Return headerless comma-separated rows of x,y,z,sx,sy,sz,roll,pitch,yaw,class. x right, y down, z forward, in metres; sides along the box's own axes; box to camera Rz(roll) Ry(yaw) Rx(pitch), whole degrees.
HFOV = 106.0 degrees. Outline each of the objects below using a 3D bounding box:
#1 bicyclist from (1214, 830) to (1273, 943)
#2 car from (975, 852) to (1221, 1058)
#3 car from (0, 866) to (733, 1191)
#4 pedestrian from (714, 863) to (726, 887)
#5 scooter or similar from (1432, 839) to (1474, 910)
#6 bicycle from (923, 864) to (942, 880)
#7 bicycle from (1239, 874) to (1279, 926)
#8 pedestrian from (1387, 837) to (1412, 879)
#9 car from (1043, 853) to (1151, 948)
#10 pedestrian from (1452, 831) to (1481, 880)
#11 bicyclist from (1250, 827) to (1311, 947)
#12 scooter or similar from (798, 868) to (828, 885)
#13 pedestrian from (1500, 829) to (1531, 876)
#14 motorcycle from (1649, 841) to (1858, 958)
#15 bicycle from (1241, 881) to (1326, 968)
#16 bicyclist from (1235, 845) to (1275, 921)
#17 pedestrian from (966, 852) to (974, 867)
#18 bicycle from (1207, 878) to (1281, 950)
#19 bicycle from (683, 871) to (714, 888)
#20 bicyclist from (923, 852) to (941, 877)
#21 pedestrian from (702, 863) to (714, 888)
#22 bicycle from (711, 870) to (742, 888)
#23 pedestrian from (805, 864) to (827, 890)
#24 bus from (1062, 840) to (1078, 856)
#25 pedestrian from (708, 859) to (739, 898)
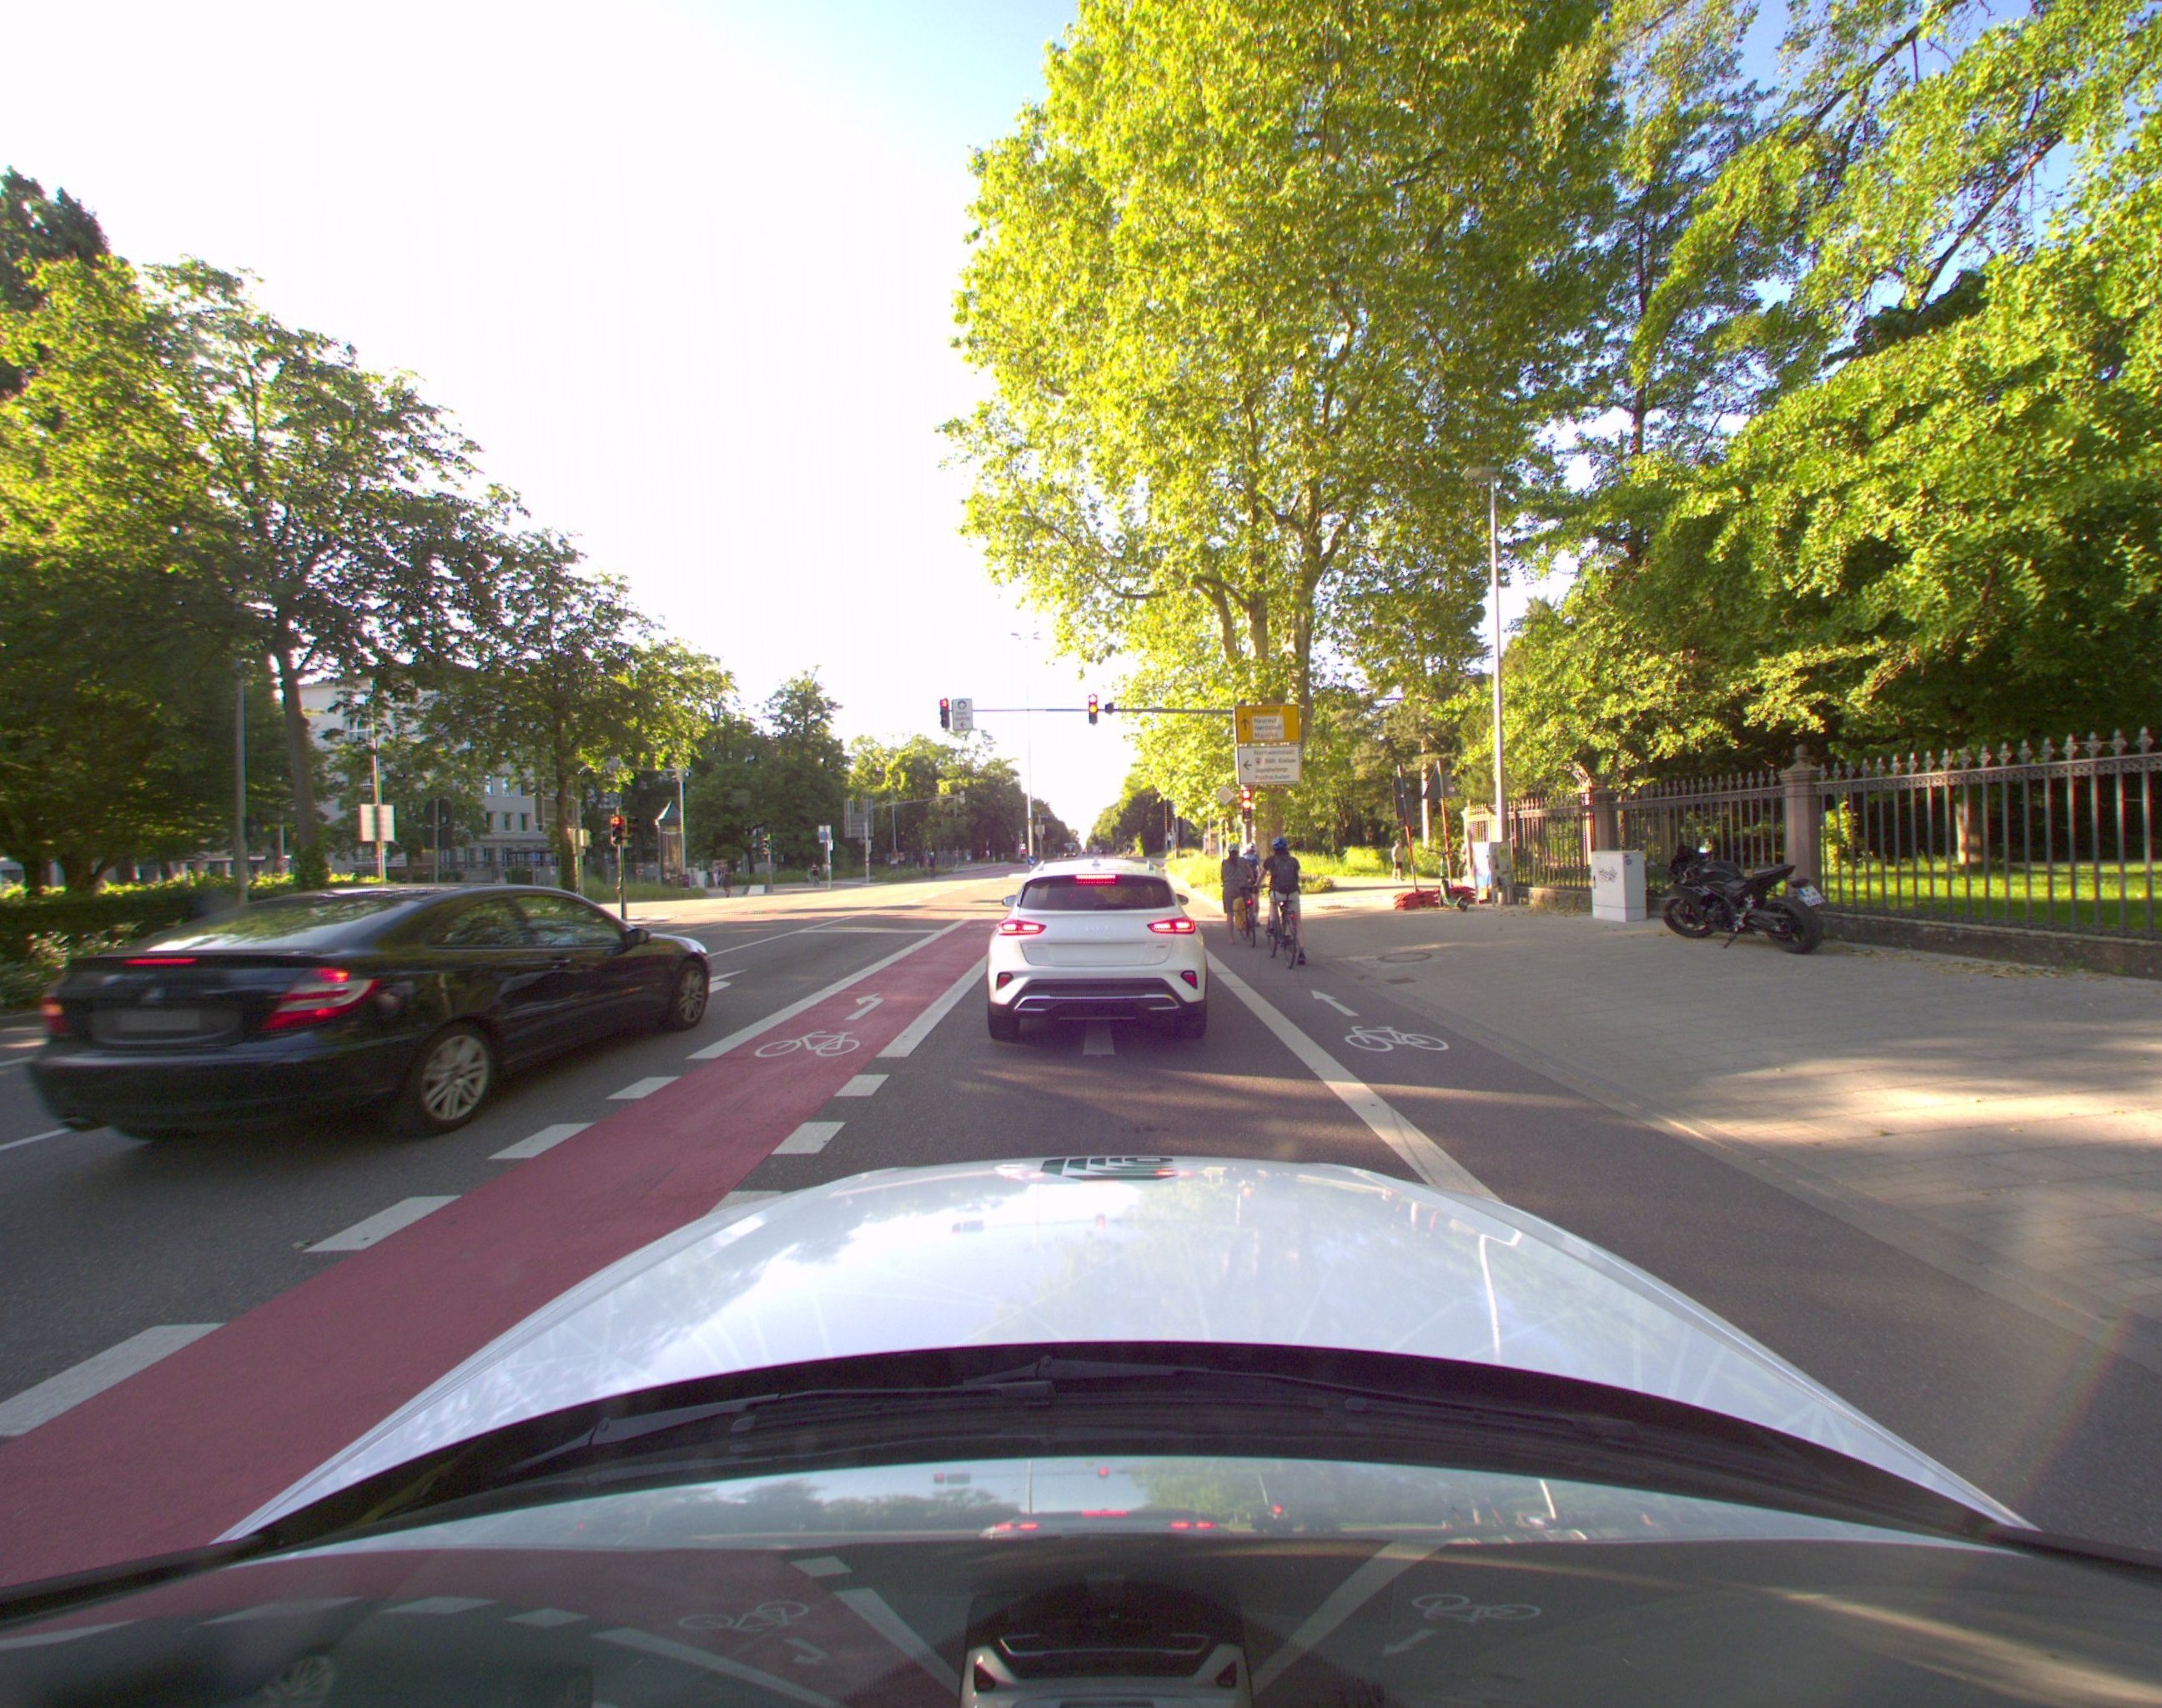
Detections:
2.680,0.521,13.532,0.750,1.795,1.165,0,0,0,bicyclist
0.146,0.754,8.082,1.815,1.480,3.936,-1,0,0,car
-4.386,0.852,5.946,1.698,1.405,4.266,-2,0,2,car
-24.182,1.383,54.530,0.628,1.580,0.444,-1,-1,-8,pedestrian
7.201,0.376,15.780,0.227,1.327,1.172,-3,0,0,scooter or similar
-10.252,1.223,56.261,0.660,0.989,2.507,-3,0,4,bicycle
3.619,0.913,16.629,0.400,0.956,1.551,-5,0,0,bicycle
11.778,0.158,30.140,0.811,1.518,0.921,-1,-1,20,pedestrian
0.274,0.772,15.262,1.723,1.483,3.516,-3,0,0,car
13.589,0.048,28.727,0.686,1.699,0.644,-1,-1,1,pedestrian
2.750,0.442,11.274,0.663,1.602,0.721,-1,0,0,bicyclist
-18.706,1.593,56.894,0.703,1.124,1.933,-1,0,34,scooter or similar
15.818,-0.049,29.653,0.819,1.681,0.696,-2,-1,15,pedestrian
7.429,0.454,9.166,0.504,1.131,2.170,-4,0,0,motorcycle
2.753,0.917,11.292,0.666,1.009,2.081,-1,0,0,bicycle
3.552,0.579,16.640,0.552,1.478,0.717,-5,-1,0,bicyclist
-13.262,0.655,97.539,0.782,1.785,0.751,-1,-1,2,pedestrian
2.680,0.949,13.660,0.755,1.013,2.569,0,0,0,bicycle
-25.886,1.717,55.096,1.859,1.148,0.442,-1,-1,-6,bicycle
-10.280,0.721,56.269,0.871,1.608,1.189,-3,0,4,bicyclist
-25.074,1.437,54.748,0.628,1.642,0.444,-1,-1,-8,pedestrian
-23.771,1.667,54.592,1.859,1.148,0.290,-1,-1,-6,bicycle
-17.182,1.469,52.814,1.086,1.603,0.999,-3,0,-5,pedestrian
-2.738,-1.437,203.520,3.731,3.673,13.232,-2,0,-1,bus
-18.836,1.302,42.953,0.990,2.014,1.193,-1,-1,7,pedestrian
